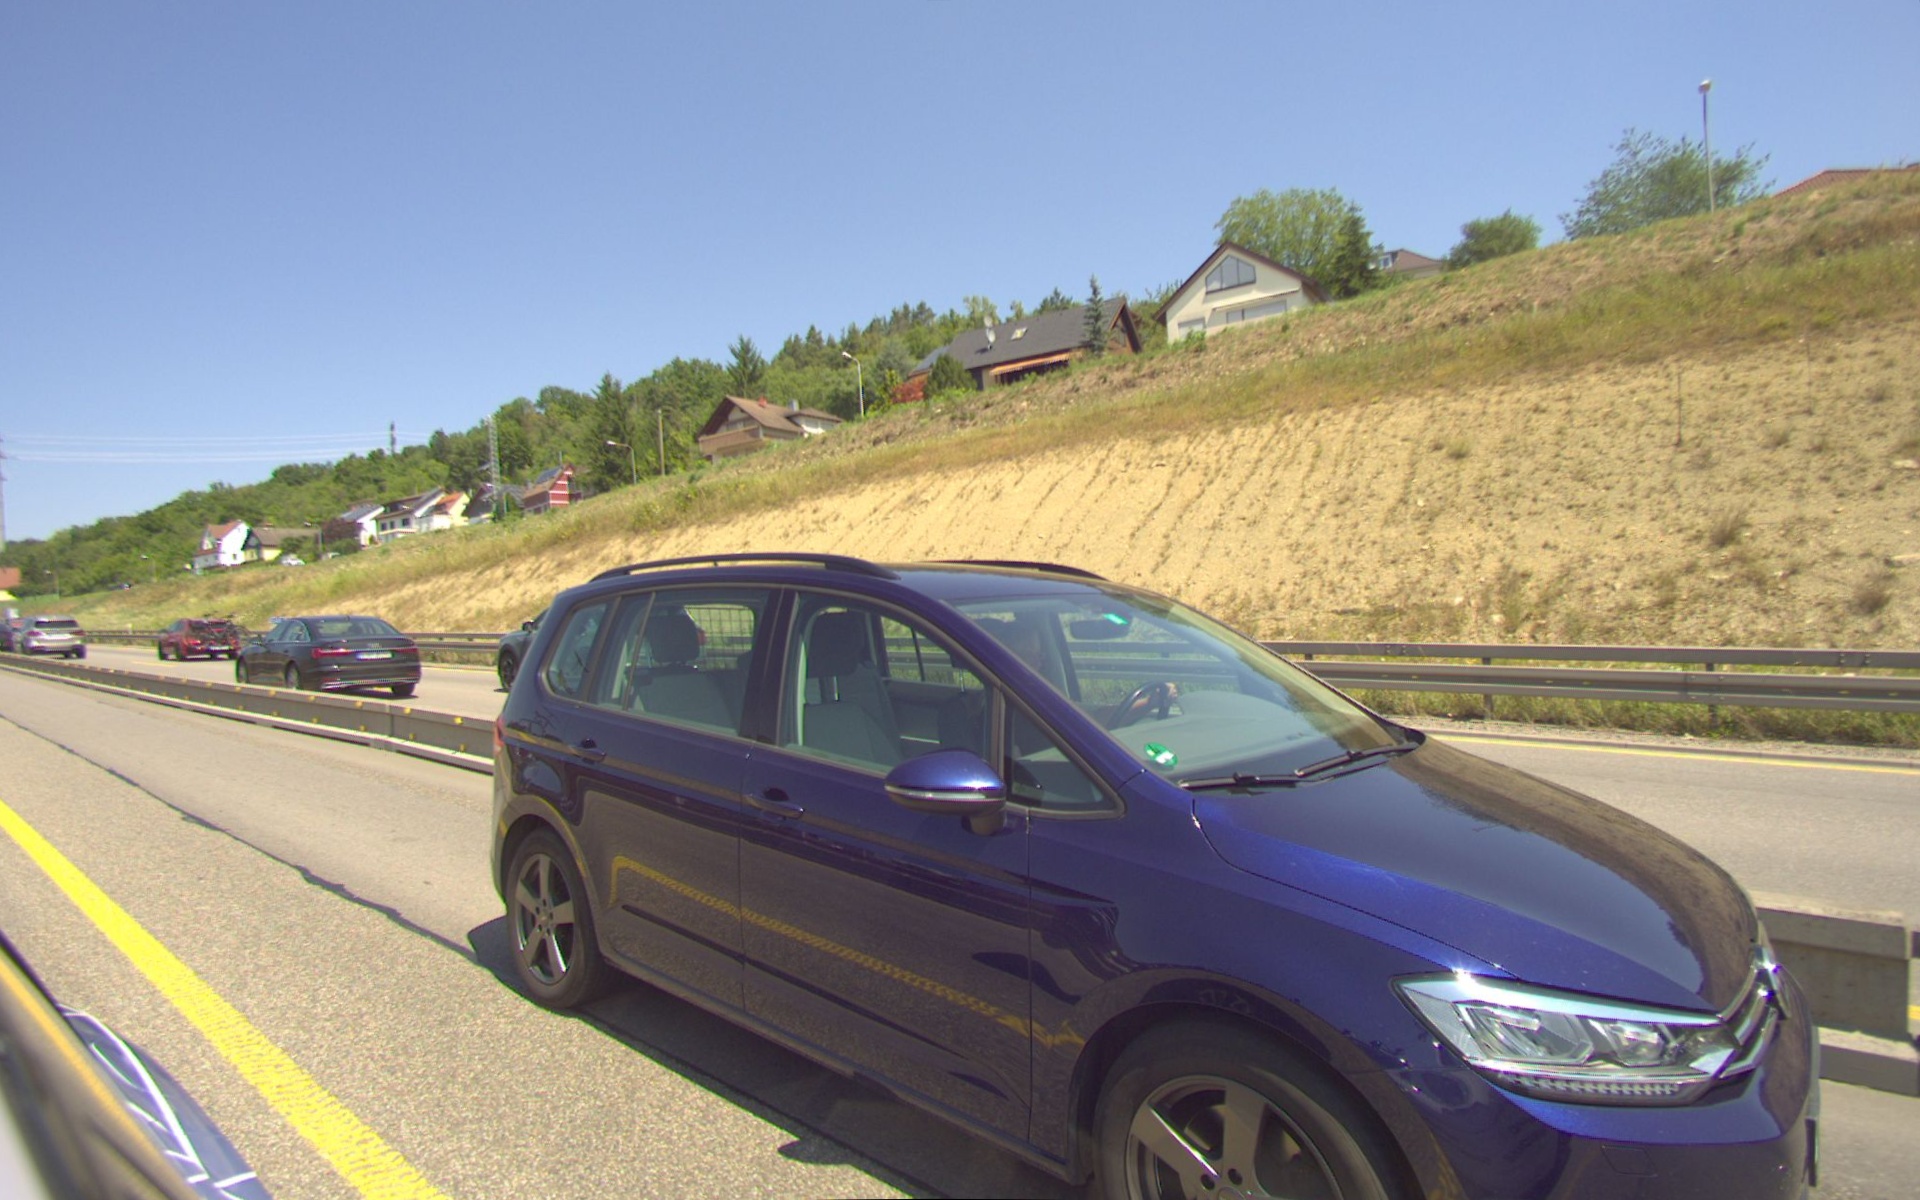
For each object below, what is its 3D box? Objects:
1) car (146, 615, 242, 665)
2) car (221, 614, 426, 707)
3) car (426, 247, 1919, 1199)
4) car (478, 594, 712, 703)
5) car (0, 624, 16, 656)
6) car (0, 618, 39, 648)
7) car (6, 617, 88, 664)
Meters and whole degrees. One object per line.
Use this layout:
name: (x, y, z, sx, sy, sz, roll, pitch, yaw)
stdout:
car: (-27.182, 1.392, 35.857, 5.123, 1.597, 1.667, -1, 0, 41)
car: (-11.572, 1.008, 18.248, 4.947, 1.438, 1.778, -1, -1, 41)
car: (0.134, 0.507, 3.301, 4.650, 1.731, 1.757, -3, -1, 41)
car: (-6.564, 0.799, 17.934, 4.665, 1.684, 1.835, -2, -1, 41)
car: (-48.628, 1.994, 50.353, 5.087, 1.510, 1.935, -1, 0, 41)
car: (-65.218, 2.263, 69.668, 5.118, 1.941, 2.017, -2, -2, 40)
car: (-35.701, 1.552, 39.524, 4.686, 1.678, 1.826, -1, 0, 41)
